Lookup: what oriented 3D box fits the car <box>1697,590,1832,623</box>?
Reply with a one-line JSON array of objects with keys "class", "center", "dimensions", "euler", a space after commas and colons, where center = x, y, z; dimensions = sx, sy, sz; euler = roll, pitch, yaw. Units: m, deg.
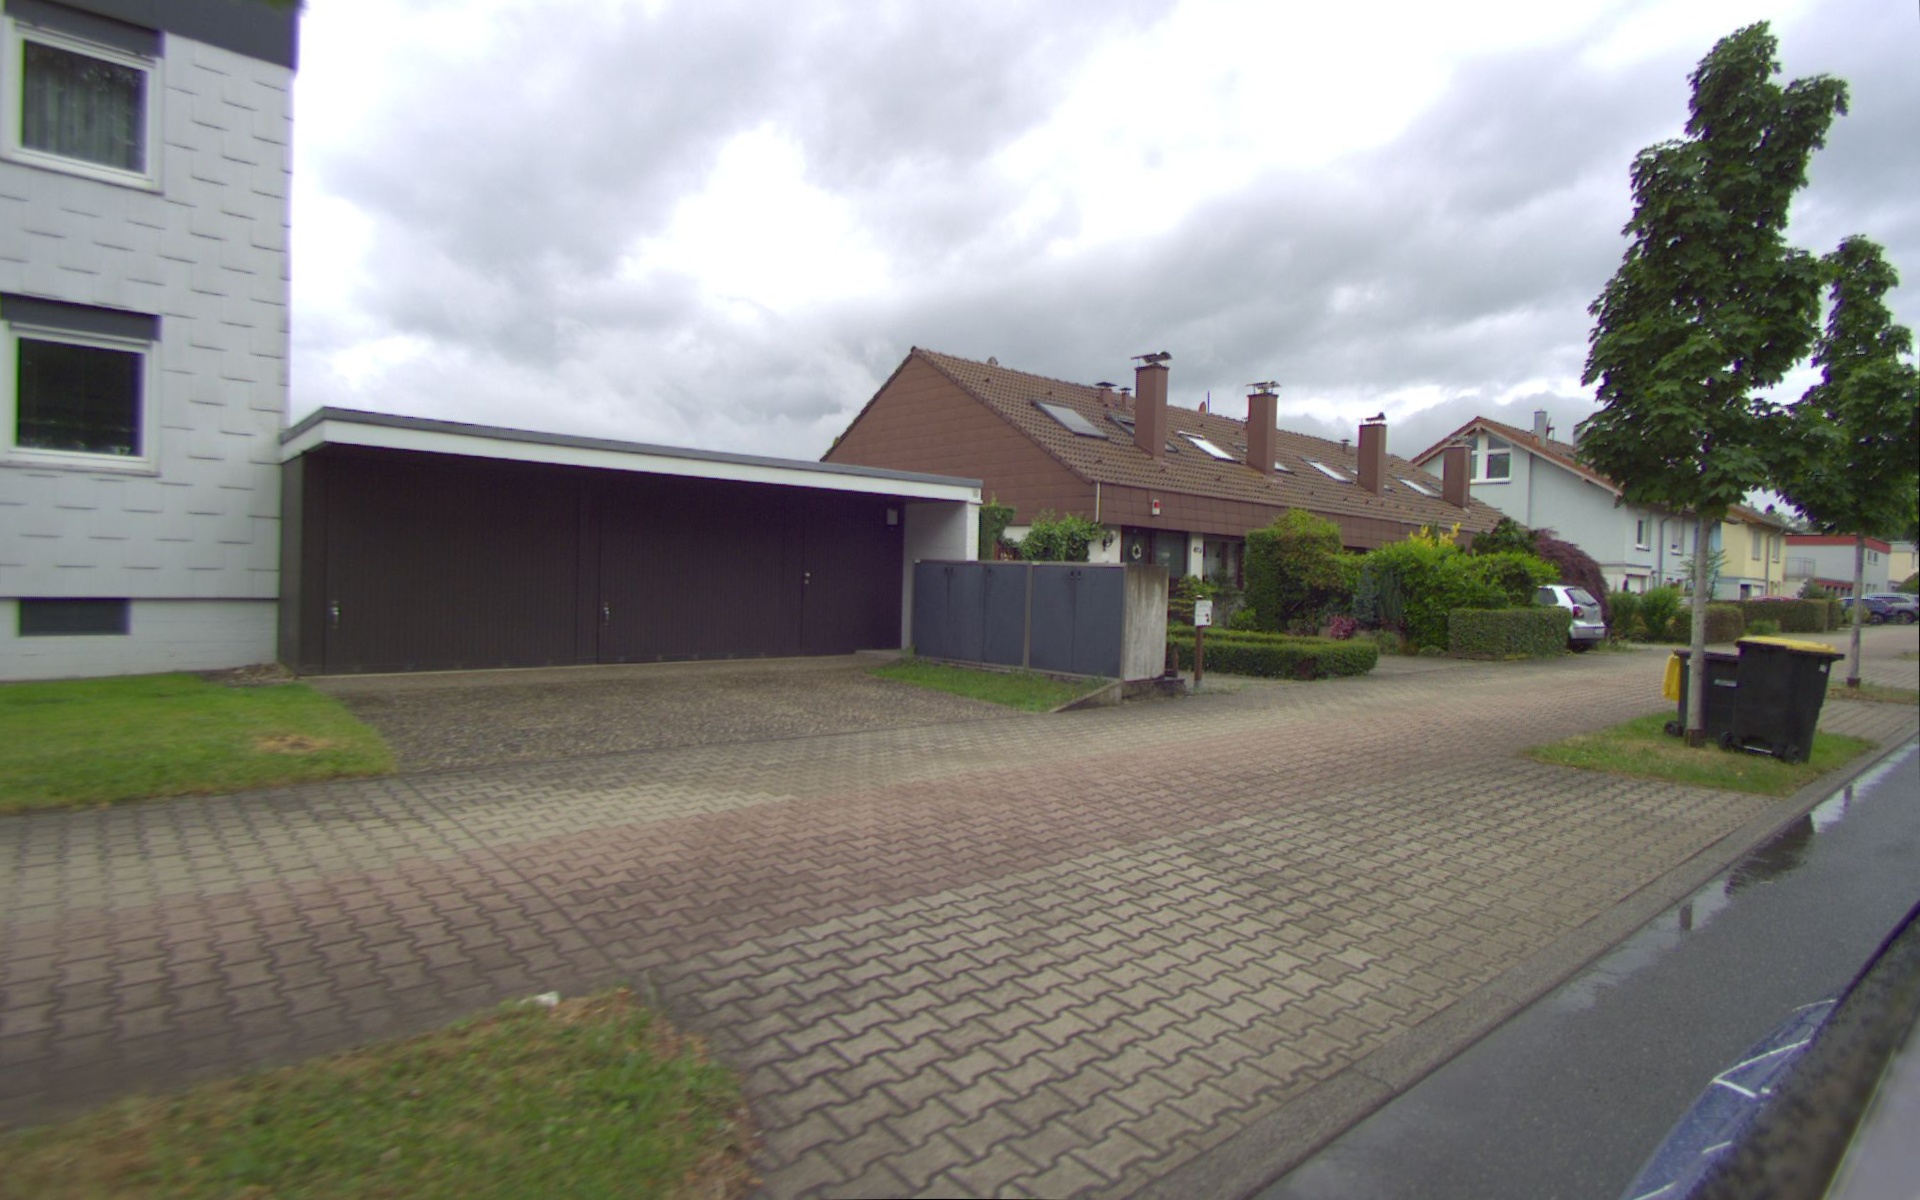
[{"class": "car", "center": [33.152, 0.237, 41.878], "dimensions": [4.291, 1.276, 1.657], "euler": [0, 0, 36]}]

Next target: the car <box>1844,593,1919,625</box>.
[{"class": "car", "center": [53.450, 0.493, 57.776], "dimensions": [1.956, 1.692, 4.189], "euler": [0, 2, -39]}]

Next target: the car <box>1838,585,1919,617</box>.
[{"class": "car", "center": [50.995, 0.042, 55.562], "dimensions": [4.177, 1.693, 1.695], "euler": [-1, 0, 43]}]

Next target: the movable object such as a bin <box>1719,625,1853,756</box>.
[{"class": "movable object such as a bin", "center": [7.179, 0.774, 8.819], "dimensions": [0.550, 1.026, 0.618], "euler": [1, 5, -15]}]

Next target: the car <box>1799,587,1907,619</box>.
[{"class": "car", "center": [45.489, 0.188, 51.589], "dimensions": [1.647, 1.406, 3.988], "euler": [4, -5, -44]}]

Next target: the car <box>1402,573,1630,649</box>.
[{"class": "car", "center": [12.151, 0.165, 22.317], "dimensions": [1.814, 1.460, 3.996], "euler": [-1, 2, -39]}]

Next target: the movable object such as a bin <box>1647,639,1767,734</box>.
[{"class": "movable object such as a bin", "center": [7.241, 0.830, 9.834], "dimensions": [0.588, 0.810, 0.663], "euler": [1, 4, -15]}]
